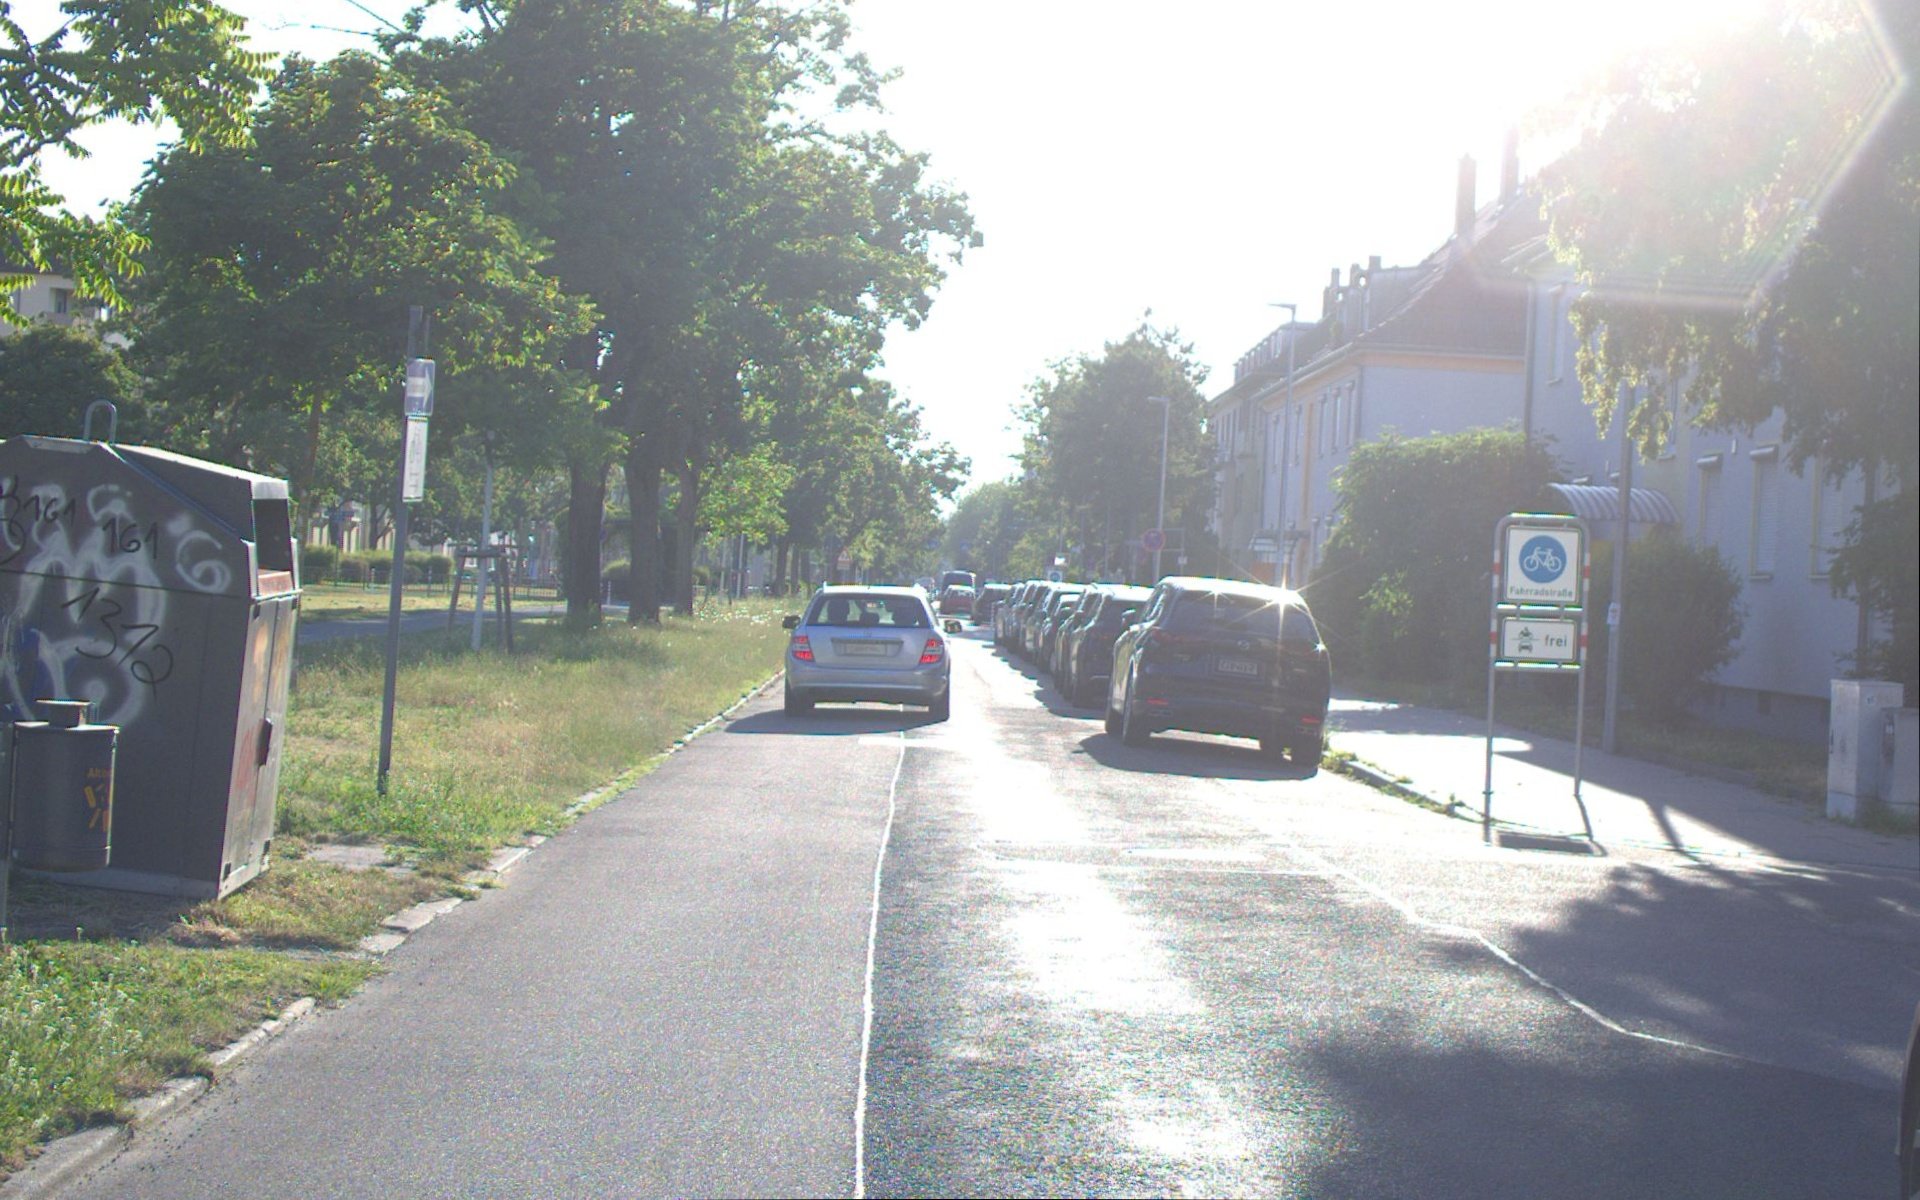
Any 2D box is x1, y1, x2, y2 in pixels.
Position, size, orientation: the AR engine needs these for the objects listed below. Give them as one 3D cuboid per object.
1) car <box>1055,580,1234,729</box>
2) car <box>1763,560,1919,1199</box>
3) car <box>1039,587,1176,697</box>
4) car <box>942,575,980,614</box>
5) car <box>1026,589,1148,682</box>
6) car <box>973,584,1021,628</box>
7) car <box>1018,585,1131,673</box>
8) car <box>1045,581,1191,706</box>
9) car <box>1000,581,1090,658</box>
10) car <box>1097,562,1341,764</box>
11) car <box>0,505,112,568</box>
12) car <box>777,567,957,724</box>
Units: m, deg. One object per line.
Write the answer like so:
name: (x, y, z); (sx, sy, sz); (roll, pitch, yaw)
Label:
car: (2.422, 0.682, 46.162); (1.933, 1.714, 4.621); (5, 0, -1)
car: (2.935, 0.838, 5.919); (1.822, 1.556, 4.622); (9, 1, 0)
car: (2.411, 0.681, 57.130); (1.728, 1.543, 4.208); (7, -1, -3)
car: (0.065, -0.312, 190.805); (1.988, 2.016, 4.000); (3, 0, 0)
car: (2.257, 0.608, 62.080); (1.993, 1.457, 4.561); (4, 0, 1)
car: (1.401, 0.228, 132.471); (1.721, 1.591, 4.000); (2, -1, 0)
car: (2.205, 0.539, 67.253); (1.724, 1.556, 4.417); (3, 0, -3)
car: (2.328, 0.604, 51.687); (1.854, 1.651, 4.820); (4, 1, 0)
car: (1.907, 0.435, 78.420); (1.777, 1.637, 4.757); (3, 0, -1)
car: (2.511, 0.598, 34.463); (1.832, 1.726, 5.032); (5, 0, -1)
car: (-43.848, -3.043, 163.780); (6.294, 2.711, 2.003); (2, 0, -31)
car: (-0.965, 0.454, 37.565); (1.823, 1.561, 4.000); (2, 1, 0)
